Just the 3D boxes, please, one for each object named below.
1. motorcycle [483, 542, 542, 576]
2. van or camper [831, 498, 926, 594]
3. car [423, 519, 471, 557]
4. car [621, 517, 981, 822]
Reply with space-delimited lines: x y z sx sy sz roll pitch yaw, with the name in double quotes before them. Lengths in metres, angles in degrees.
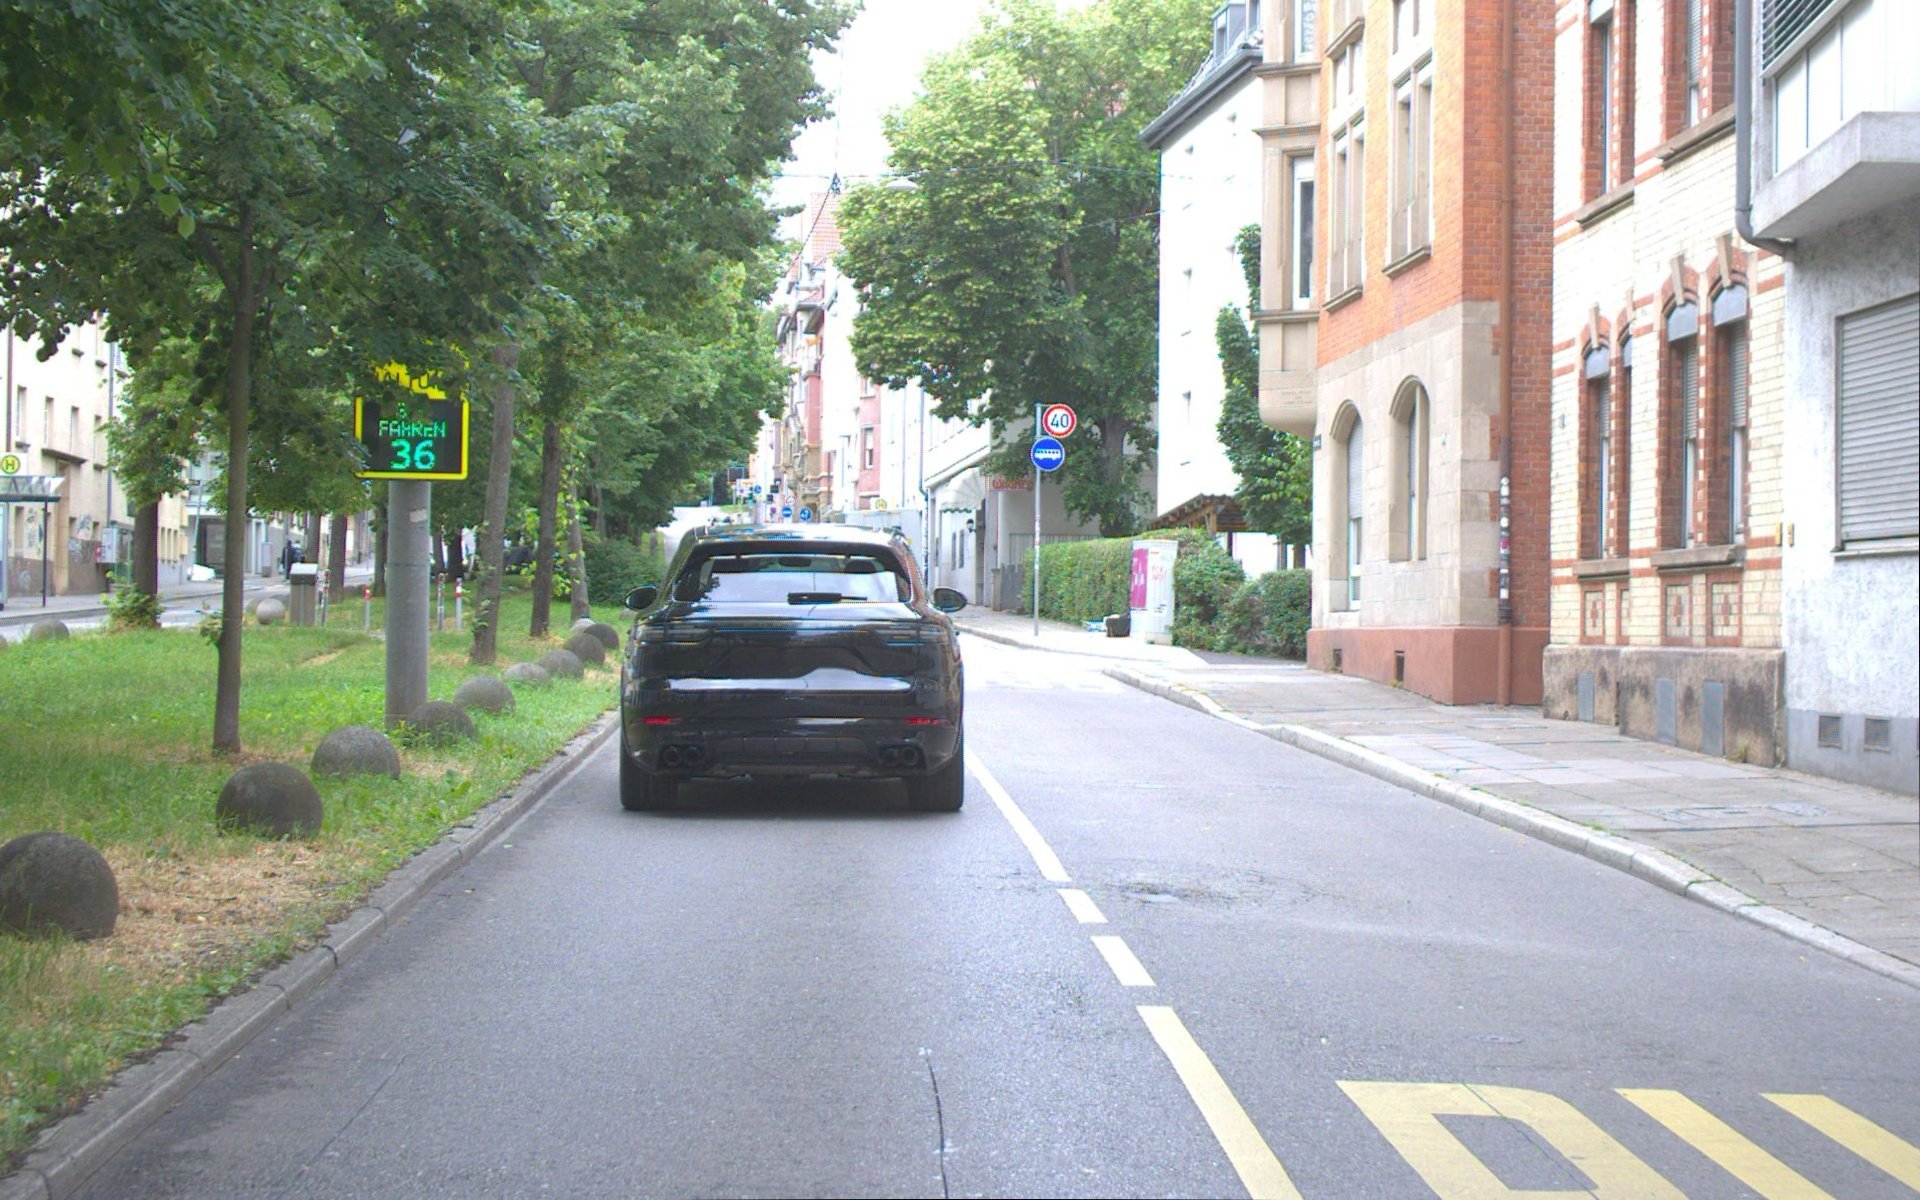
"motorcycle" -18.367 -1.682 141.113 2.382 1.312 1.046 1 1 -6
"van or camper" -2.529 -1.627 104.941 2.479 2.793 7.239 1 1 -4
"car" -24.173 -2.902 162.177 1.948 1.623 4.366 -5 1 -6
"car" -1.073 0.361 21.014 1.903 1.660 4.136 1 1 -6
